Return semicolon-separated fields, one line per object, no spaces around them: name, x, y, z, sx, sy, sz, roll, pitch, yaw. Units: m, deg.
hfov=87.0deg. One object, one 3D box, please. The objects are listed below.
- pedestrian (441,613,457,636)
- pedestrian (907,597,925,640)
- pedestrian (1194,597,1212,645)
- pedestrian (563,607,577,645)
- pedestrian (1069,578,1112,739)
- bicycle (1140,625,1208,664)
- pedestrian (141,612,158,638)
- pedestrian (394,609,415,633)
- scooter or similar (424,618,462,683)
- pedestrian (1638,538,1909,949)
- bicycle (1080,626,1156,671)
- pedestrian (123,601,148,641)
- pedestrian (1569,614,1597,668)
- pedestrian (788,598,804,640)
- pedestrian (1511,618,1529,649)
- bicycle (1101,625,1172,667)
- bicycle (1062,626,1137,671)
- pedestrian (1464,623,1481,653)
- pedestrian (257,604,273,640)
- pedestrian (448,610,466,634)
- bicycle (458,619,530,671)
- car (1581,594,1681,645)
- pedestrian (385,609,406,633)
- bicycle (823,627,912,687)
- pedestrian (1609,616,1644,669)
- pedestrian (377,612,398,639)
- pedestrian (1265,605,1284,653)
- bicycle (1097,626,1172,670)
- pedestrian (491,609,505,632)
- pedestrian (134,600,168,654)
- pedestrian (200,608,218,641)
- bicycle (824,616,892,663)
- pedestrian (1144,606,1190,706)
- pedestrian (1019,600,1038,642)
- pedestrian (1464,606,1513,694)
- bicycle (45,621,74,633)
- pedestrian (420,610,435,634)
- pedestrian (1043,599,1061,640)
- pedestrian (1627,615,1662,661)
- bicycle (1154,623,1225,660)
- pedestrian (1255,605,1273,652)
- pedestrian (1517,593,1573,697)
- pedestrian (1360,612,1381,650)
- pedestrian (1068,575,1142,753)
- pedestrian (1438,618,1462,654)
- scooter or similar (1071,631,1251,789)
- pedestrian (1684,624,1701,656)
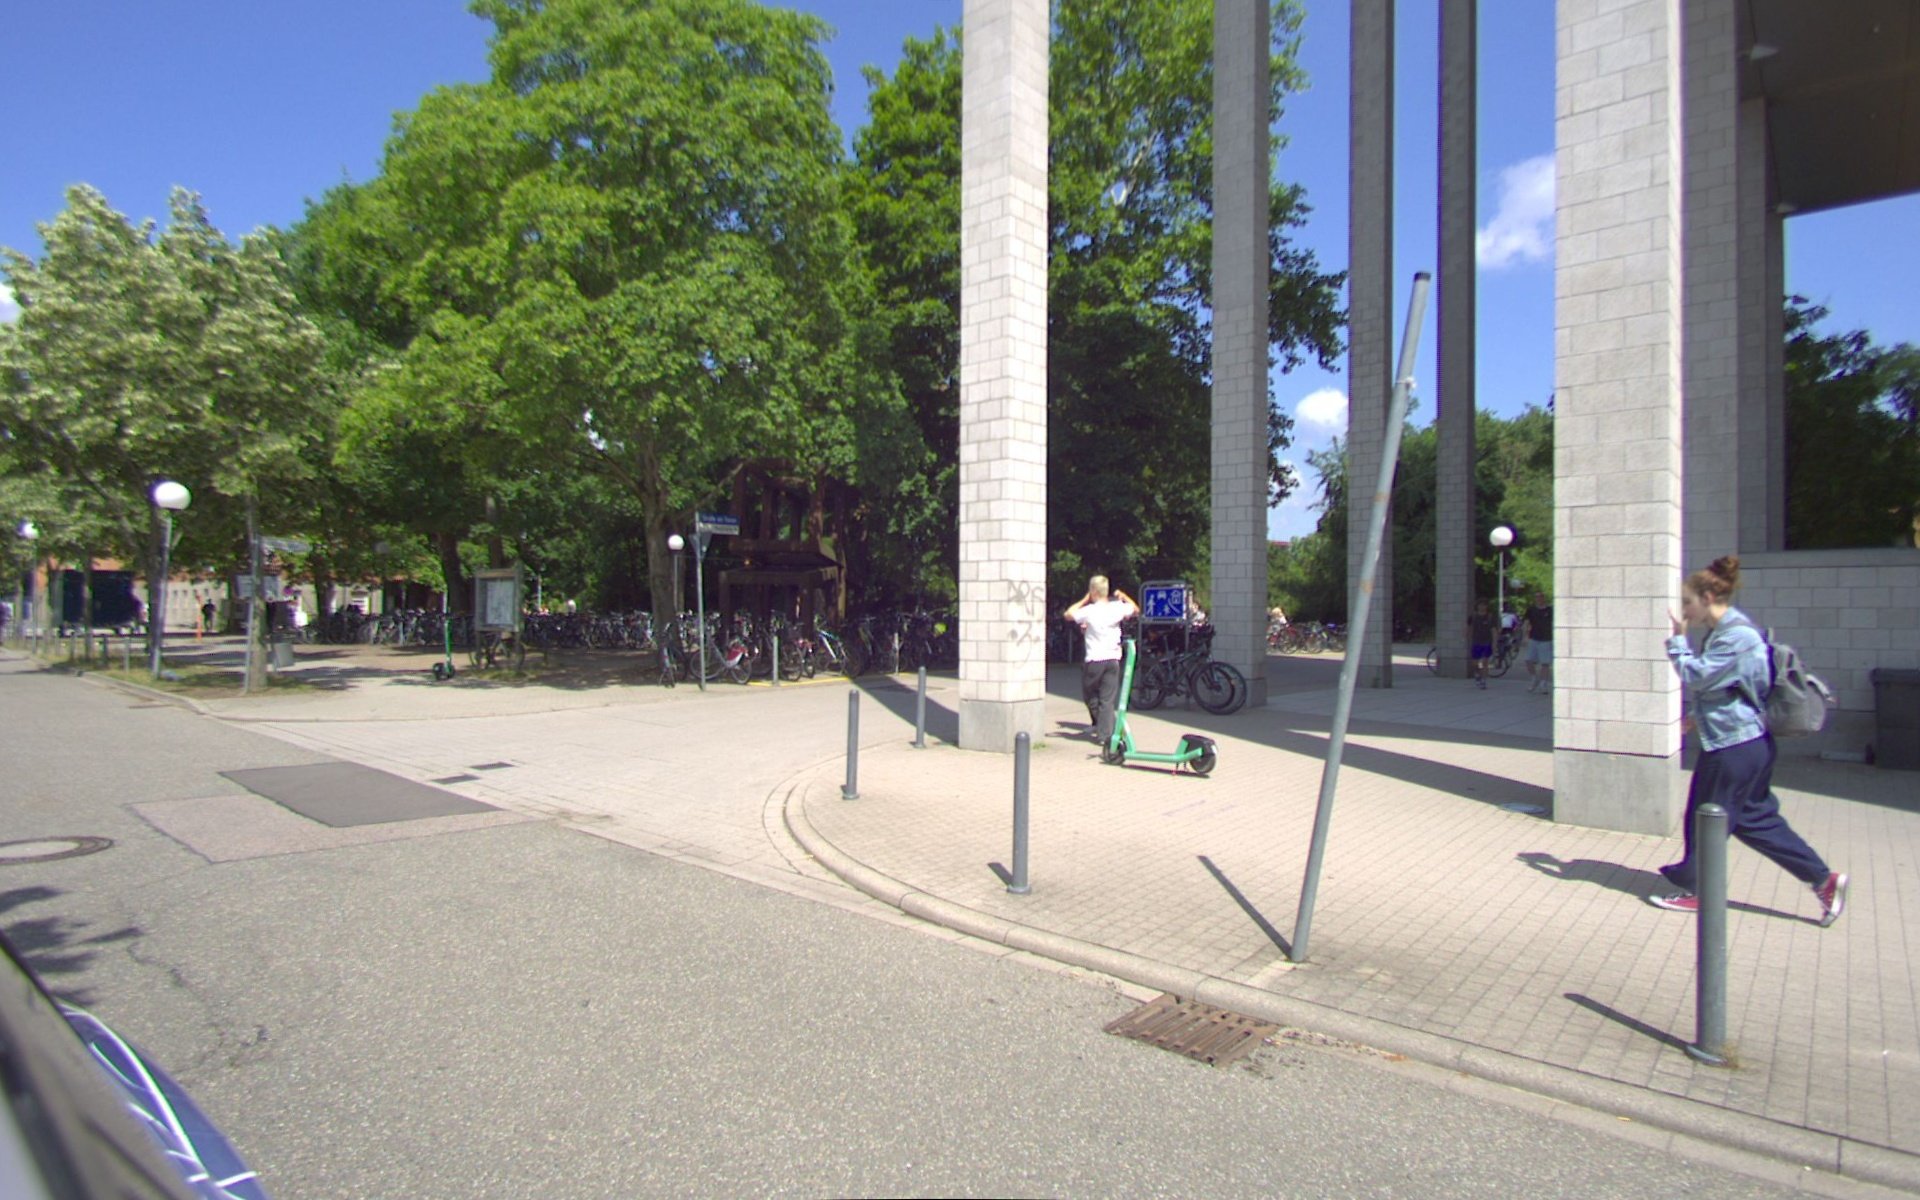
pedestrian;-29.161;1.385;57.742;0.559;1.333;0.638;-1;-2;43
pedestrian;-1.747;0.722;40.089;0.623;1.683;0.576;-1;0;7
pedestrian;10.458;0.898;43.513;0.525;2.029;0.521;0;0;-33
pedestrian;-16.980;1.134;44.110;0.348;1.626;0.458;-1;0;19
pedestrian;1.484;0.655;11.502;0.446;1.789;0.441;0;-1;11
bicycle;6.363;1.316;30.152;1.972;1.094;0.546;-1;1;42
pedestrian;-47.262;1.450;59.022;0.499;1.521;0.735;-1;0;43
pedestrian;-29.875;1.140;54.450;0.734;1.243;0.594;-2;-1;8
scooter or similar;-9.938;0.952;19.485;0.334;1.184;1.332;0;0;-13
pedestrian;3.743;0.603;4.743;0.886;1.714;0.645;-1;-1;31
bicycle;4.149;1.259;26.694;1.972;1.094;0.546;-1;1;42
pedestrian;-41.850;1.048;51.371;0.906;1.969;0.894;-2;1;-38
pedestrian;19.553;1.275;31.755;0.641;1.662;0.593;-1;-1;44
pedestrian;-6.847;0.785;42.156;0.539;1.726;0.411;-1;0;11
pedestrian;25.642;1.513;46.327;0.475;1.413;0.548;0;-1;-27
bicycle;4.947;1.278;28.515;1.972;1.094;0.546;-1;1;42
bicycle;3.611;1.243;26.297;1.972;1.094;0.546;-1;1;42
pedestrian;27.860;2.064;55.022;0.759;1.608;0.389;-1;-1;41
pedestrian;-36.464;1.168;53.112;0.805;1.862;0.524;-1;-1;42
pedestrian;-27.372;1.207;55.105;0.764;1.260;0.564;-1;0;30
bicycle;-9.644;0.905;20.919;1.808;1.033;0.379;0;-1;30
car;38.055;1.072;57.407;4.620;2.797;1.975;-1;-1;37
pedestrian;-30.023;1.139;53.817;0.734;1.243;0.594;-2;-1;8
bicycle;-1.848;1.095;20.028;1.972;1.094;0.546;-1;1;42
pedestrian;20.618;1.306;31.305;0.786;1.616;0.593;-1;-1;44
pedestrian;-30.718;1.364;54.310;0.734;1.379;0.594;-2;-1;8
pedestrian;13.566;1.250;43.672;0.525;2.029;0.594;0;0;-33
bicycle;4.655;1.273;27.109;1.972;1.094;0.546;-1;1;42
pedestrian;-24.886;1.097;54.524;0.728;1.203;0.388;-1;0;33
pedestrian;-28.516;0.947;35.673;0.986;1.844;0.791;-1;-1;42
pedestrian;-38.098;1.240;51.314;0.643;1.678;0.623;-1;0;43
bicycle;-2.380;0.892;23.399;1.850;1.040;0.470;-1;-1;43
pedestrian;2.966;0.802;14.491;0.442;1.394;0.462;-4;-4;32
pedestrian;2.780;0.827;40.822;0.721;1.683;0.631;-1;0;7
pedestrian;9.881;0.921;18.916;0.598;1.605;0.818;-1;-1;43
bicycle;-83.251;2.497;93.581;0.541;1.038;1.930;-1;-1;40
pedestrian;-29.953;1.232;56.887;0.693;1.281;0.554;-1;-1;42
pedestrian;3.770;0.789;41.519;0.695;1.683;0.555;-1;0;7
pedestrian;23.613;1.311;34.938;0.692;1.552;0.722;0;-1;-22
bicycle;6.966;1.250;30.793;2.128;1.076;0.492;-1;-1;41
pedestrian;13.305;1.255;44.235;0.525;2.029;0.521;0;0;-33
pedestrian;10.433;0.786;18.066;0.737;1.804;0.617;-1;-1;43
pedestrian;19.041;1.433;46.929;0.621;1.708;0.604;0;-1;-22
pedestrian;1.508;0.644;10.520;0.729;1.789;0.635;0;-1;9
pedestrian;23.068;1.689;47.654;0.780;1.628;0.716;1;1;45
scooter or similar;1.702;0.896;8.764;0.449;1.233;1.550;1;-1;-44
pedestrian;37.724;2.045;52.144;0.630;1.618;0.596;-1;-1;31
